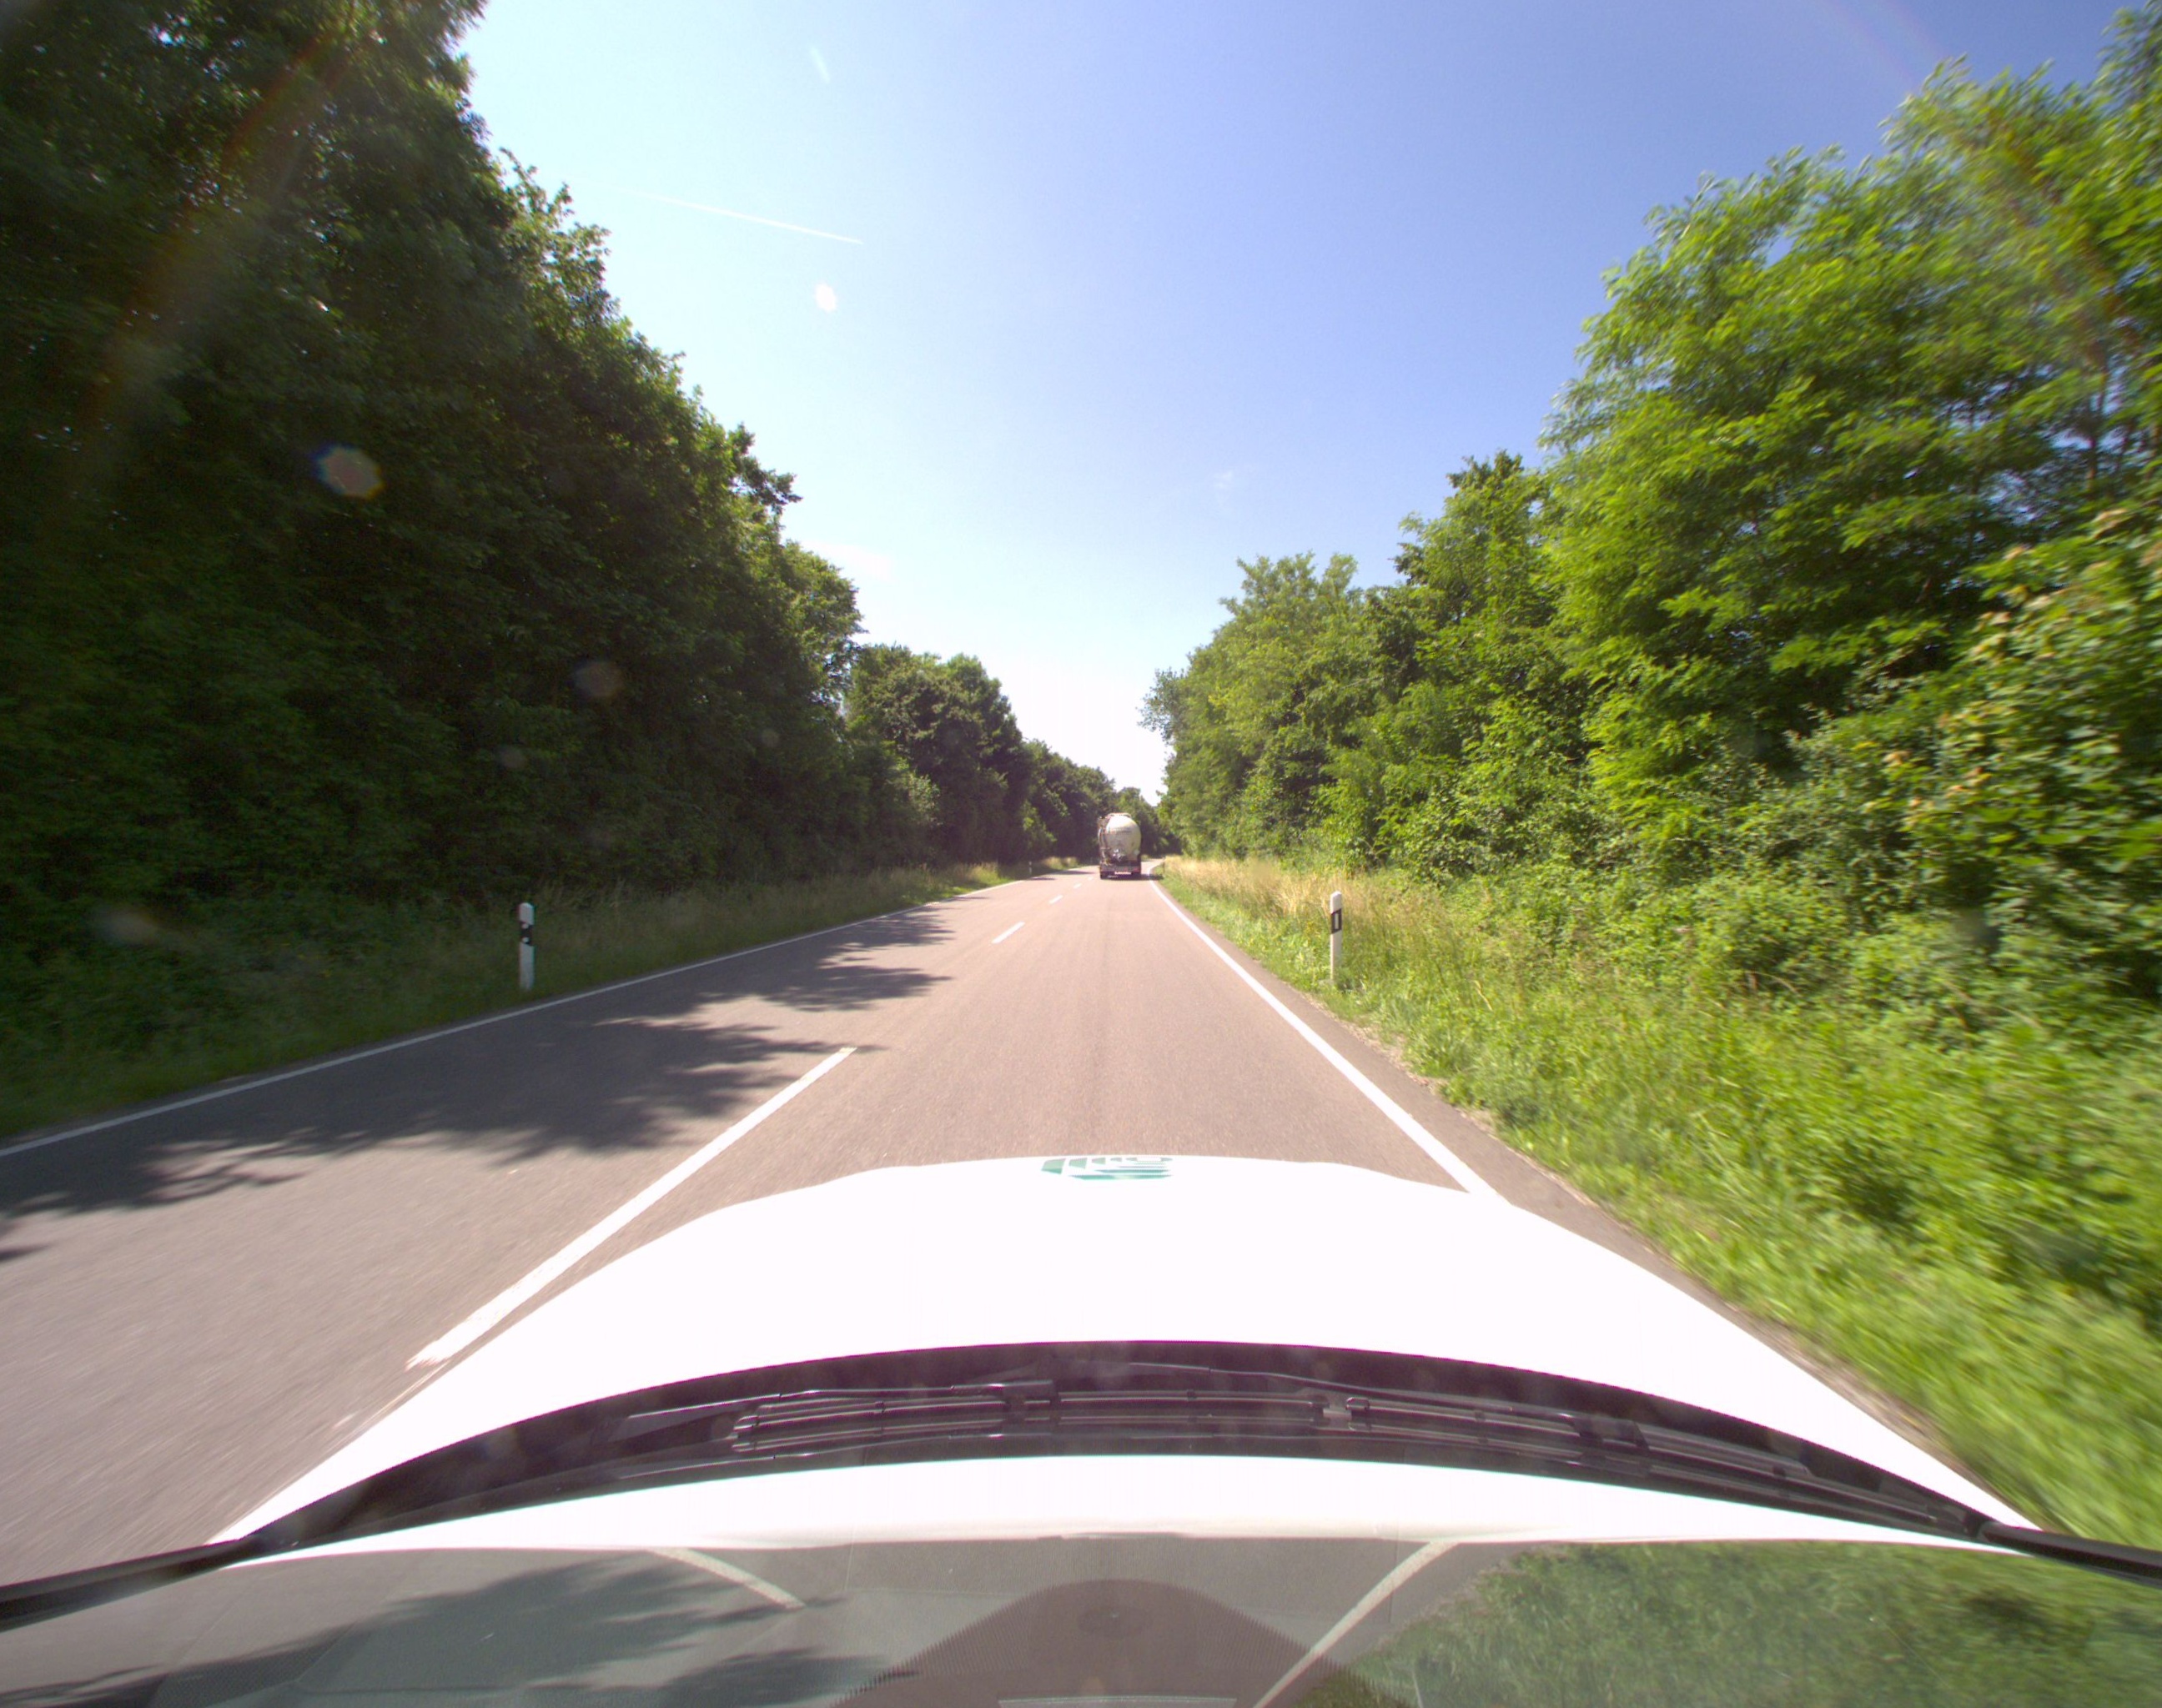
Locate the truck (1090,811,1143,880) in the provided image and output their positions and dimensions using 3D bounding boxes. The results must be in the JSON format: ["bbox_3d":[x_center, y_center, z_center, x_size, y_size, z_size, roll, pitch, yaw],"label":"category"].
[{"bbox_3d":[2.255,-0.506,54.748,3.038,3.998,15.641,0,0,1],"label":"truck"}]
